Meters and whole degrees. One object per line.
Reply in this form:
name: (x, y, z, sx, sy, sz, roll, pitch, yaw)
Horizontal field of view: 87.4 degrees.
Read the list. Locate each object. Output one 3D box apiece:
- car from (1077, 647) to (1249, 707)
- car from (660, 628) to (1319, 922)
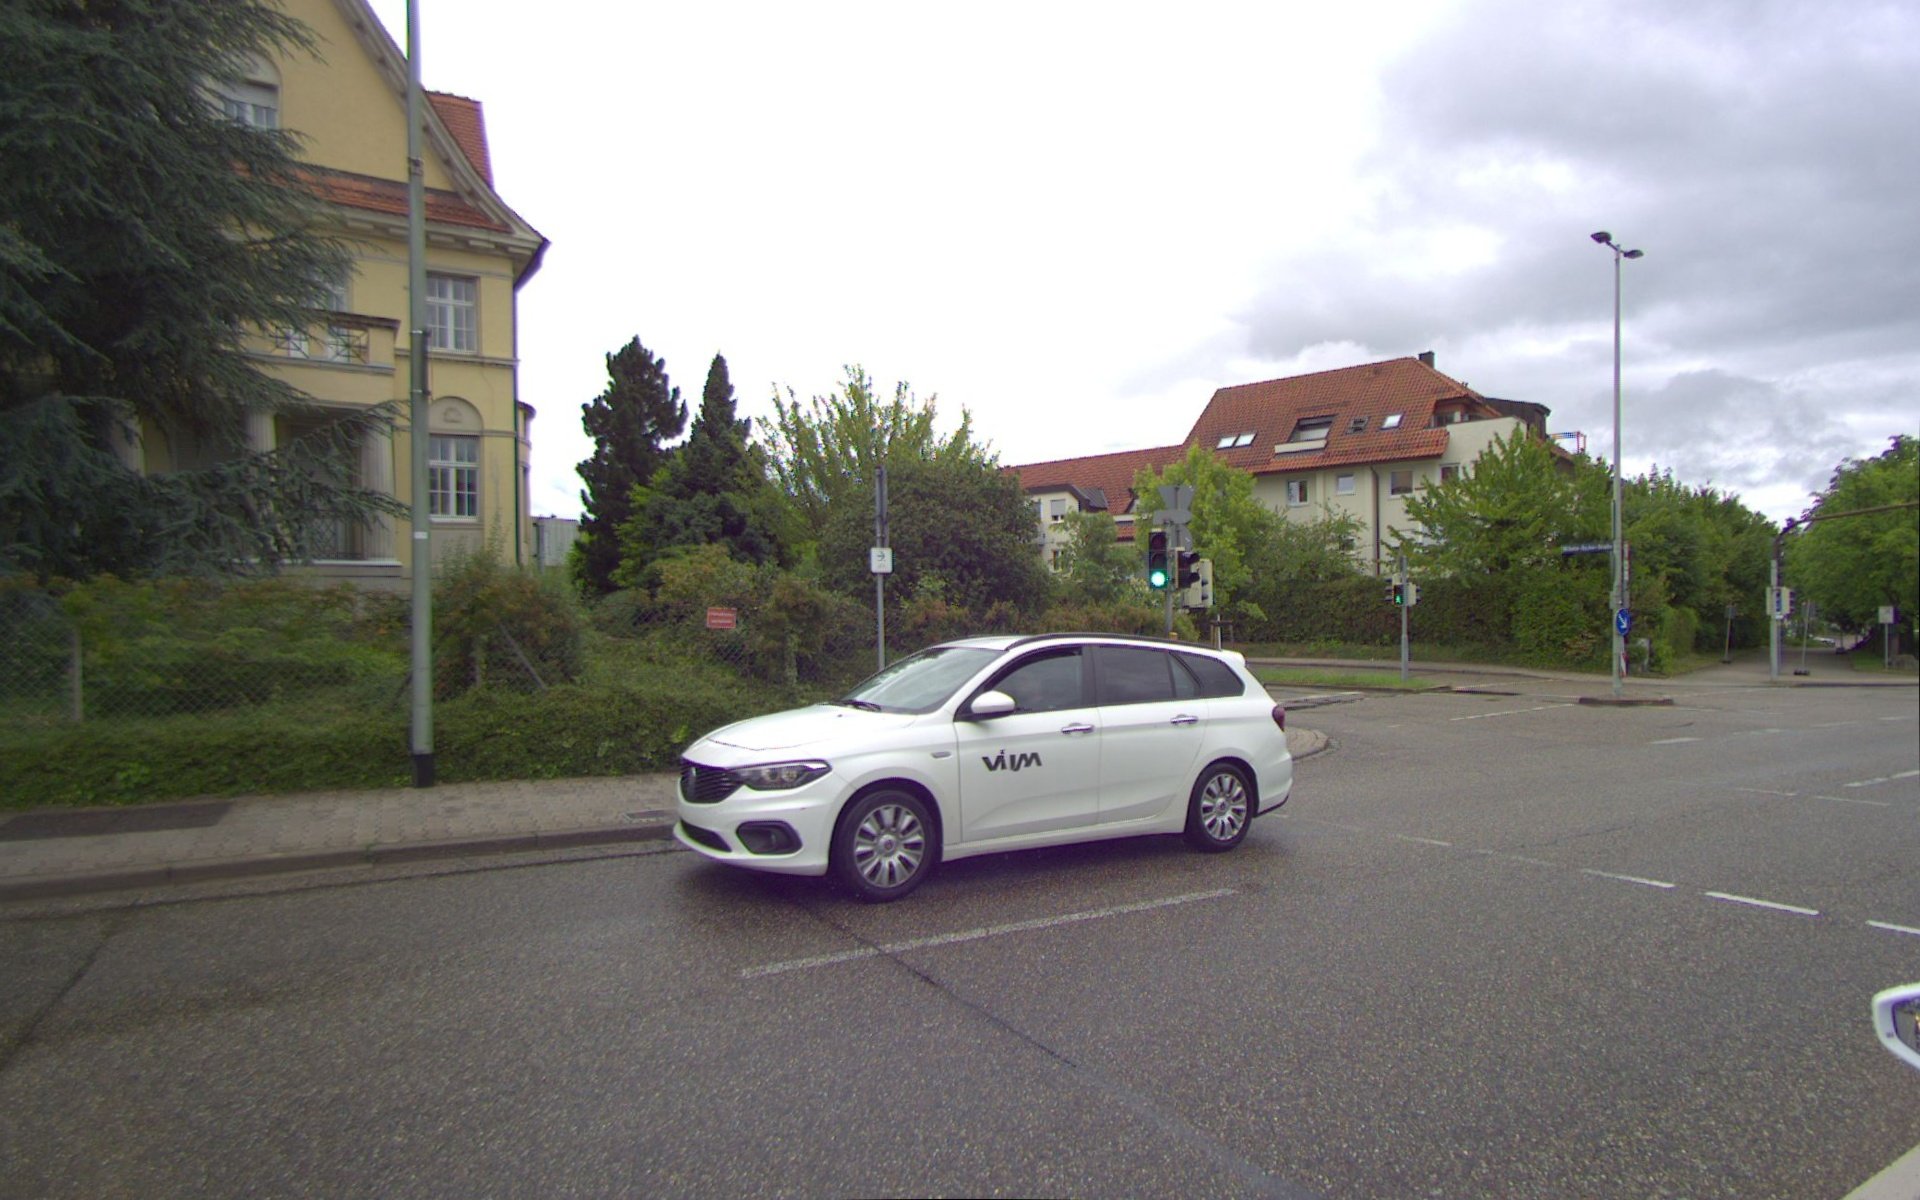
car: (5.191, 1.970, 26.196, 1.759, 1.411, 4.392, 1, -4, -35)
car: (0.301, 0.980, 7.036, 4.261, 1.473, 1.957, 2, -3, -32)
